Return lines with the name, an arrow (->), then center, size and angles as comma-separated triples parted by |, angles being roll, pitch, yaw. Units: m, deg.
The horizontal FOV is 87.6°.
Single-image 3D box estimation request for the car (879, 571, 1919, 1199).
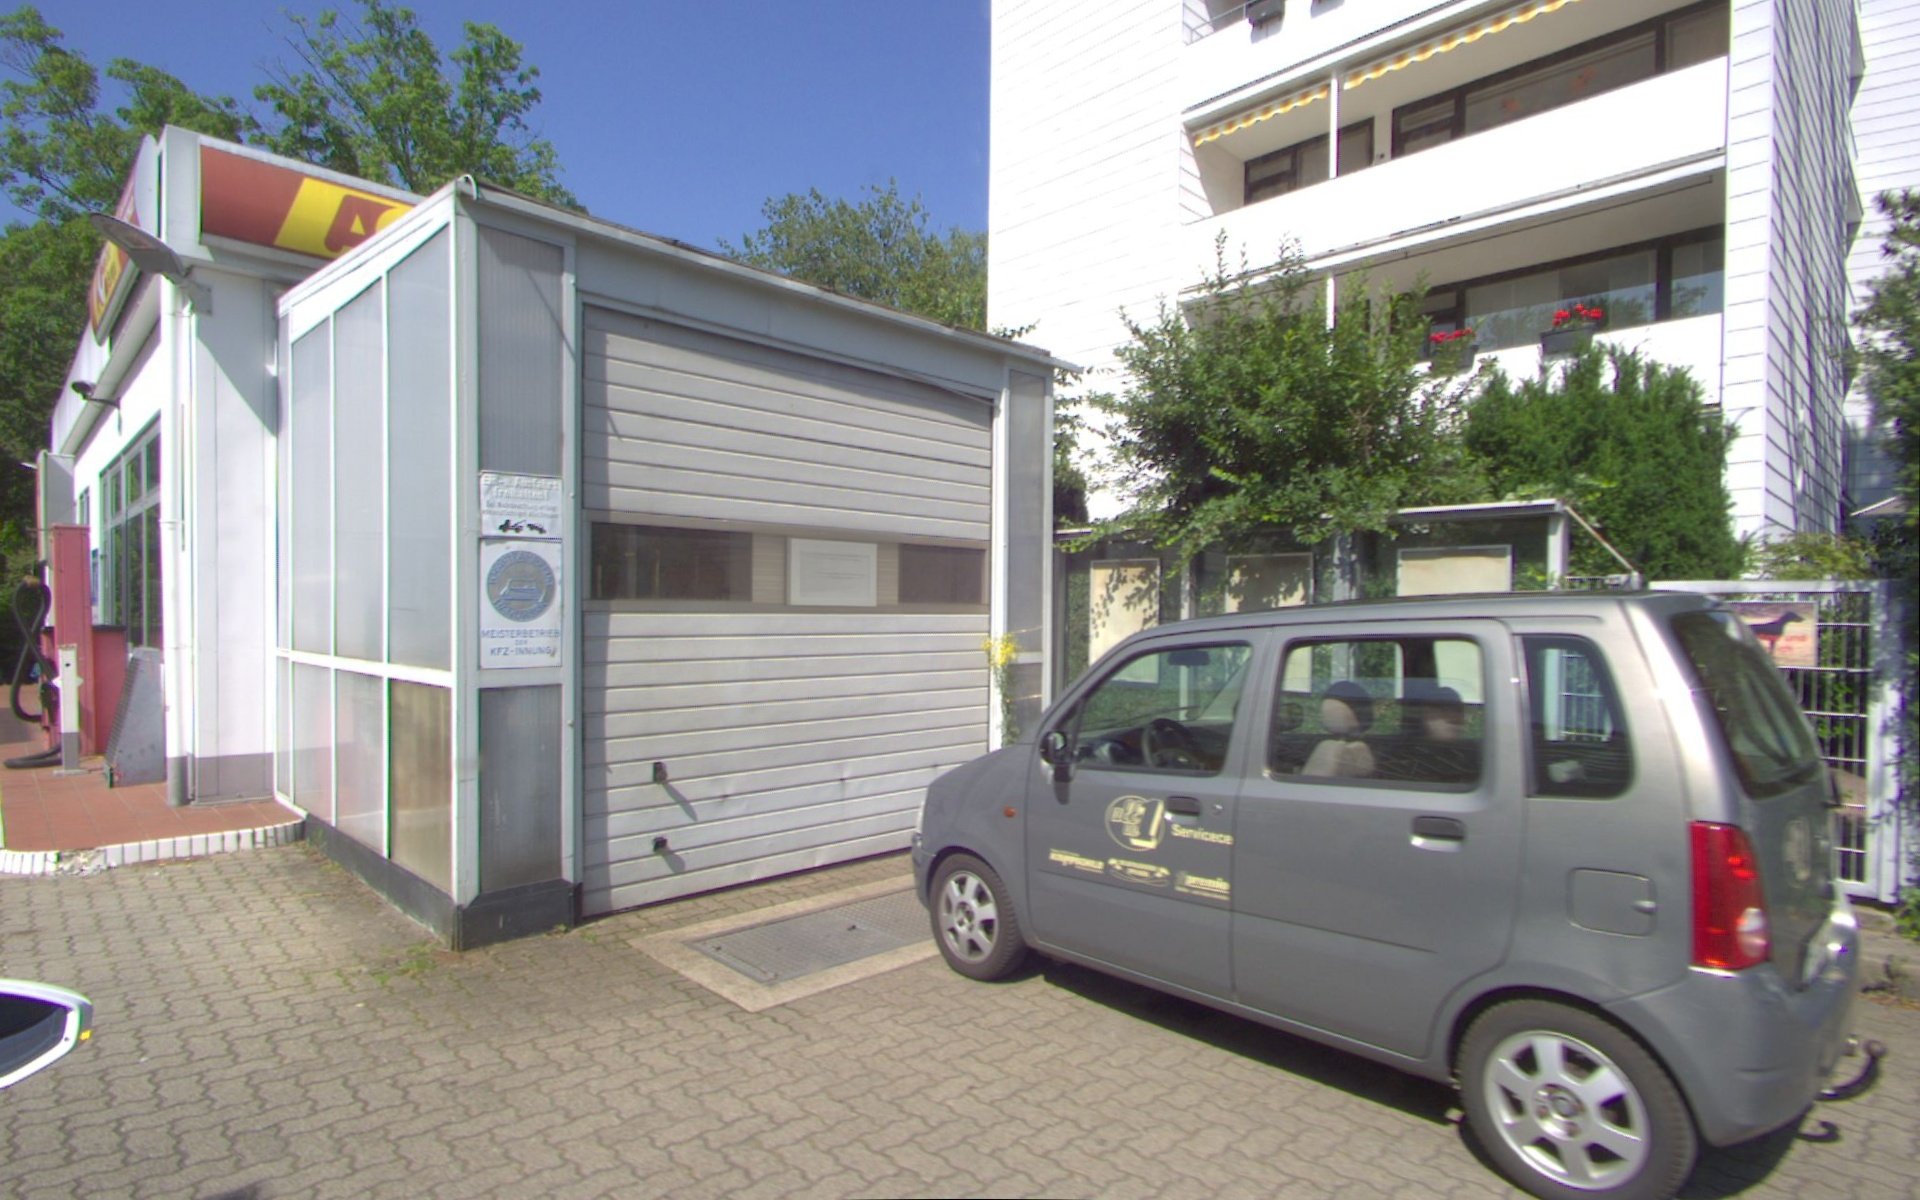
car -> 1.435, 0.815, 3.972 | 1.675, 1.638, 3.630 | 1, -2, -42
